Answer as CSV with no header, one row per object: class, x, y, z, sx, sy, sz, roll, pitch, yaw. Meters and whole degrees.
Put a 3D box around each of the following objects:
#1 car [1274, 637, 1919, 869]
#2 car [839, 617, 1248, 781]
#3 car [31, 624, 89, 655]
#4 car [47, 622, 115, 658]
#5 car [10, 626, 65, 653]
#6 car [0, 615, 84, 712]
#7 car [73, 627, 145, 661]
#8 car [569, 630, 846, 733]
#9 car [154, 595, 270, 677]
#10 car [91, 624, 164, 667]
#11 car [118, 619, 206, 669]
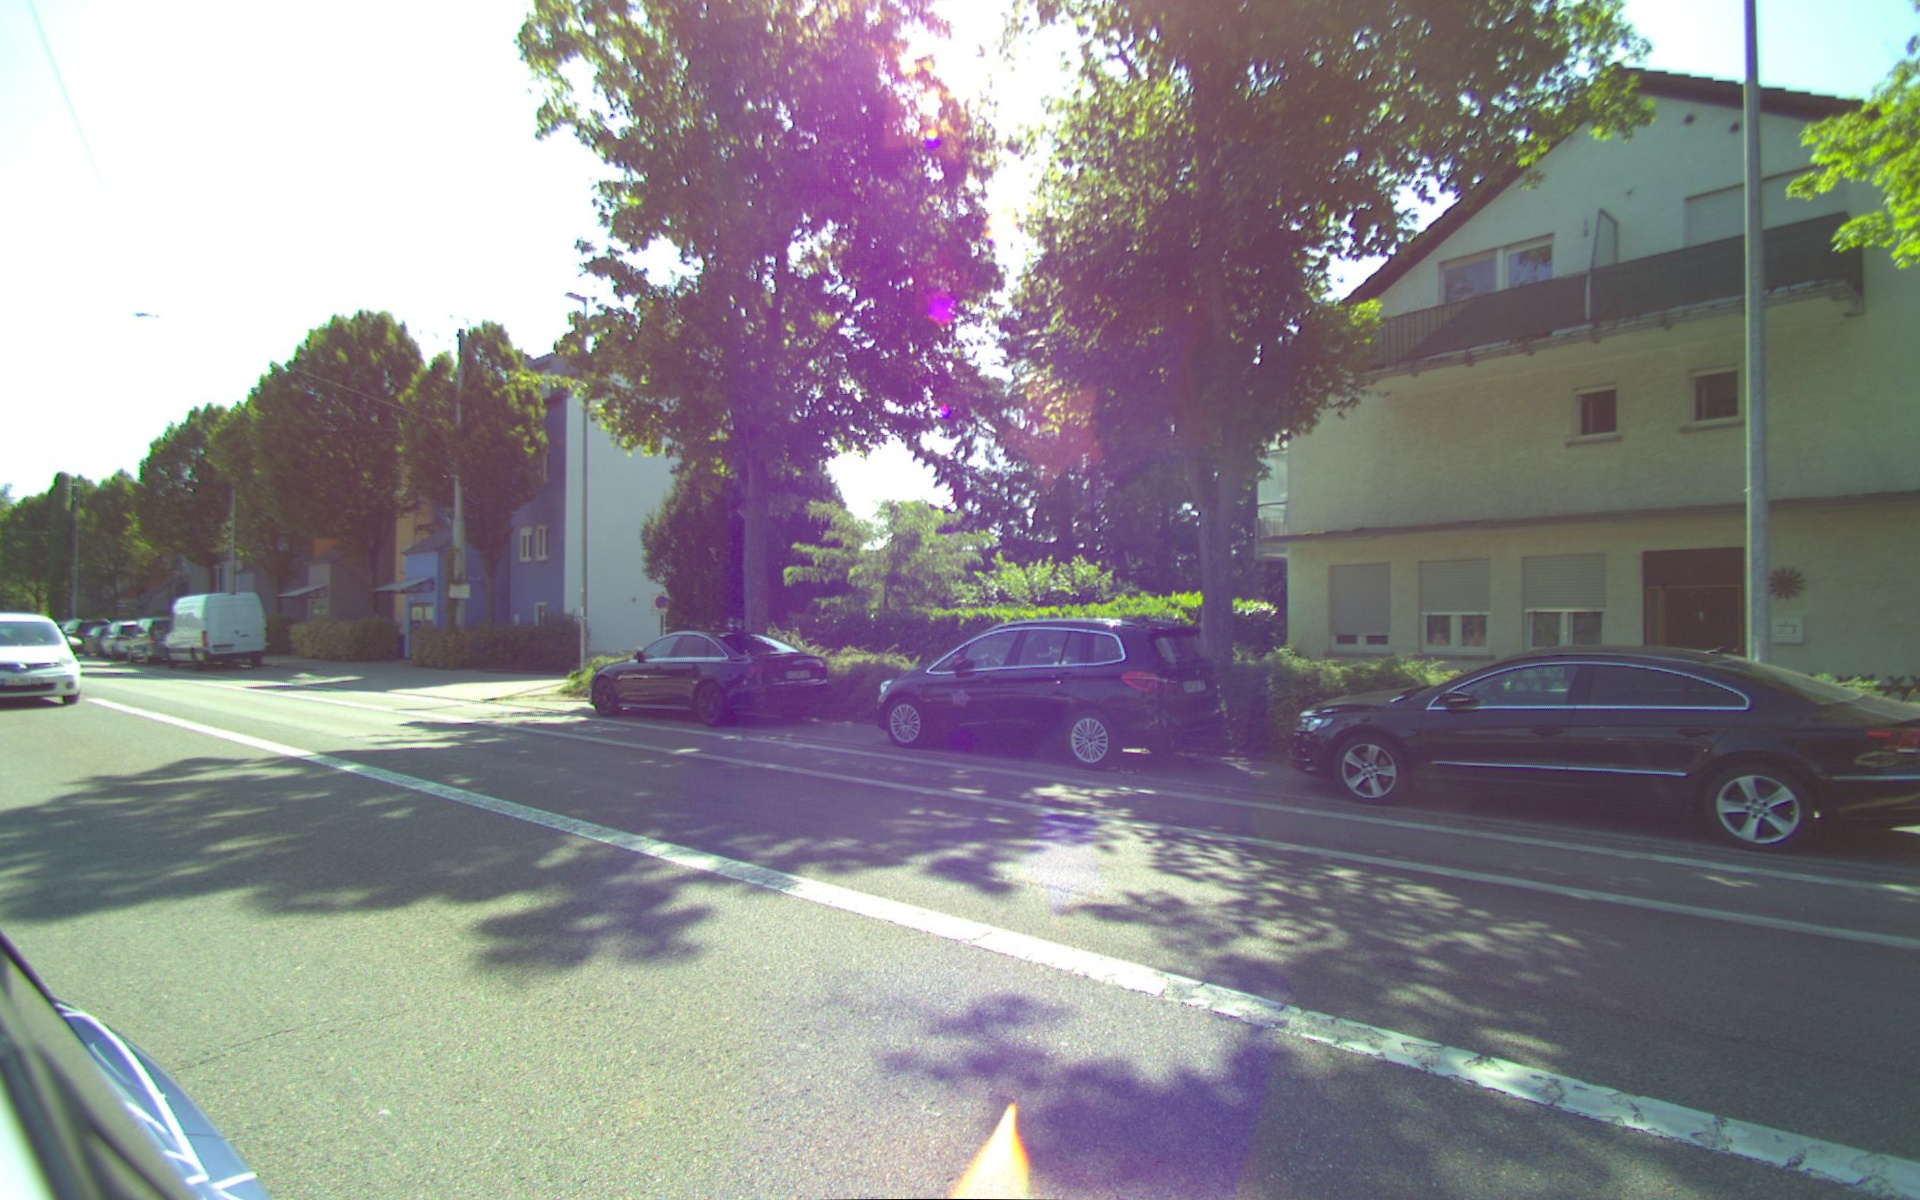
car,5.229,1.045,8.319,4.779,1.390,1.673,-2,0,41
car,0.819,1.042,12.293,4.891,1.618,1.743,-1,-2,41
car,-49.889,2.141,56.068,4.159,1.619,1.661,-1,-1,37
car,-45.955,2.042,52.884,4.343,1.741,1.812,-1,0,38
car,-54.813,2.339,60.110,4.206,1.481,1.662,-1,-1,37
car,-17.167,1.075,18.004,4.391,1.559,1.762,-1,-1,40
car,-41.782,2.123,49.660,4.069,1.466,1.849,-1,1,37
car,-4.272,1.233,16.729,4.903,1.477,1.822,-1,-2,38
car,-27.671,1.278,37.308,7.084,2.697,1.973,-2,1,42
car,-37.984,2.031,46.142,4.539,1.715,1.829,-1,2,42
car,-33.708,1.806,42.706,4.964,1.879,1.973,-1,2,41
